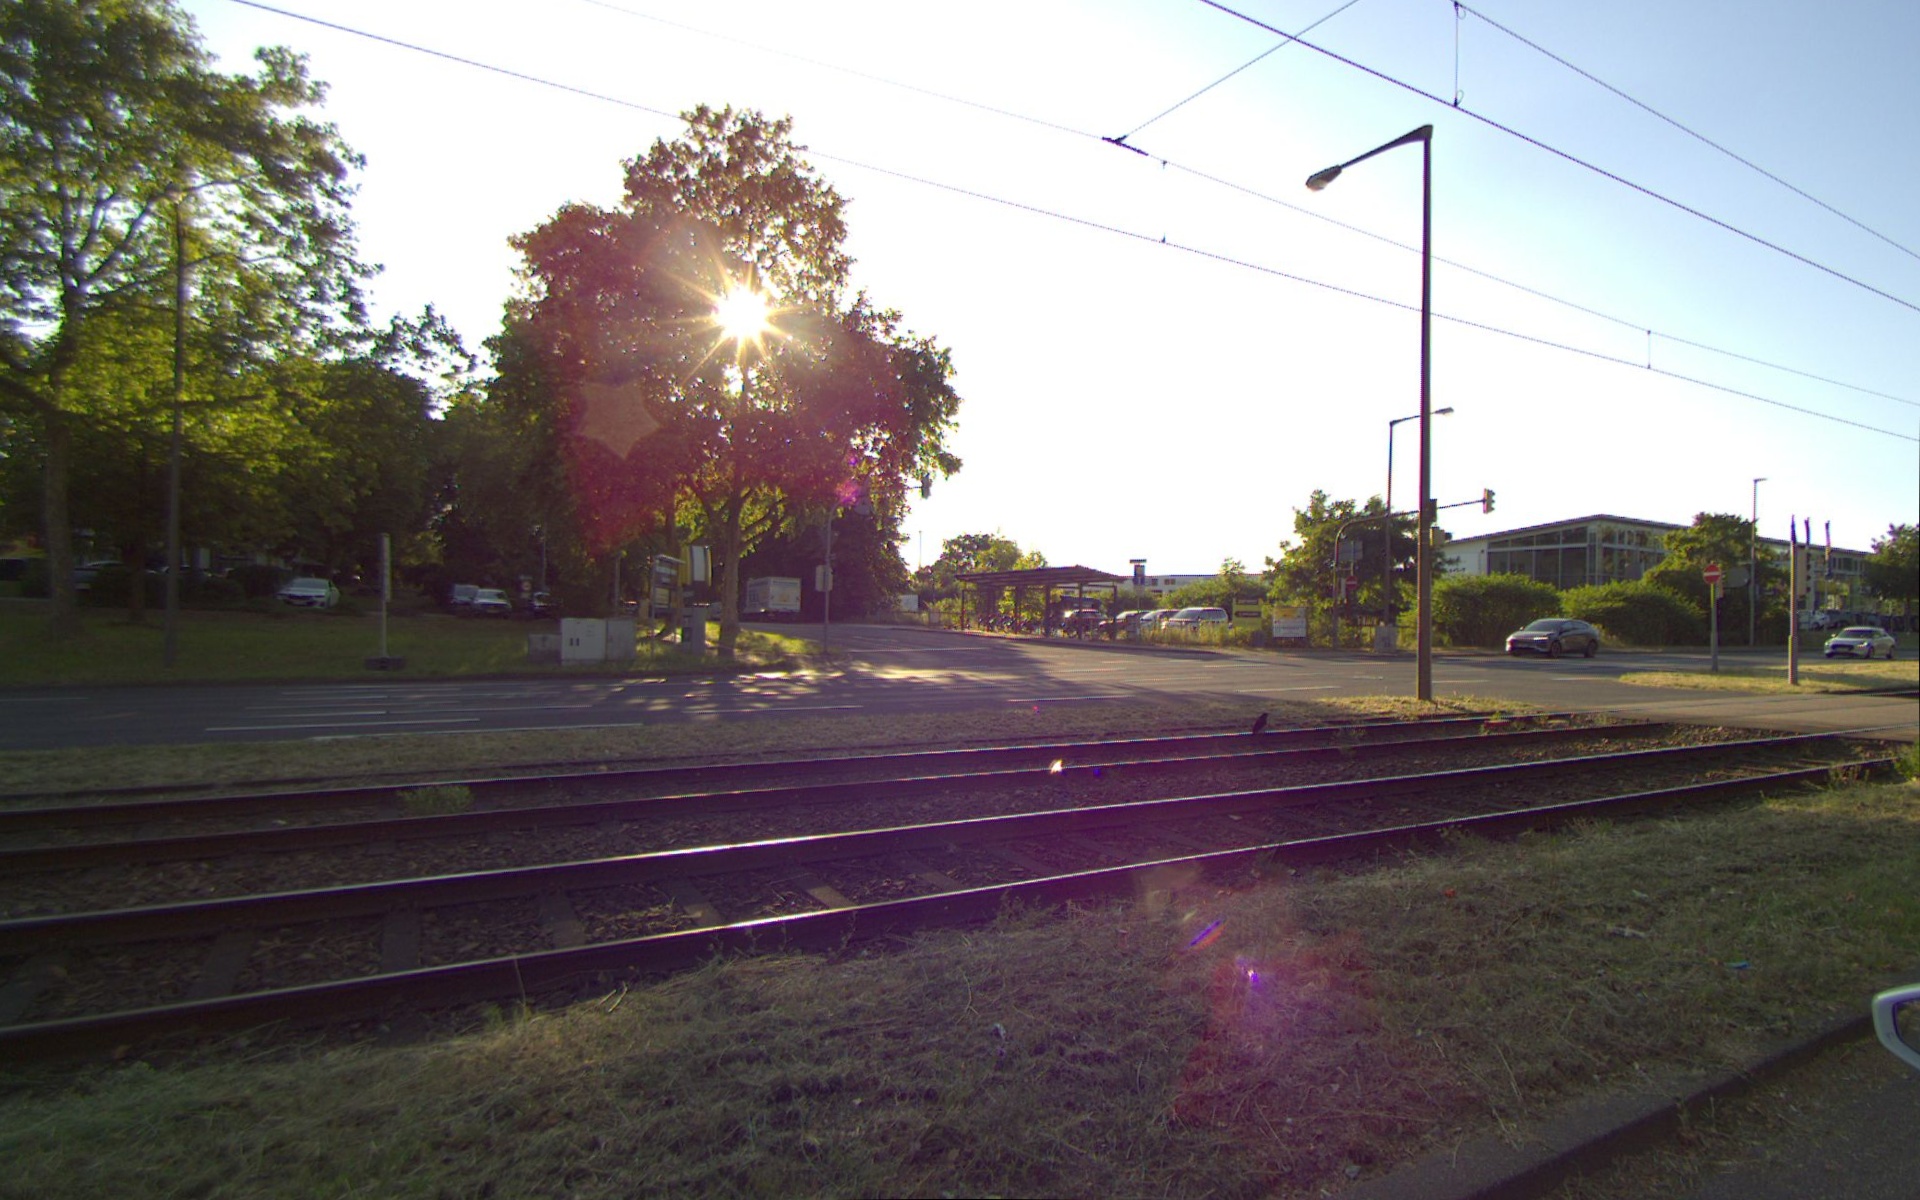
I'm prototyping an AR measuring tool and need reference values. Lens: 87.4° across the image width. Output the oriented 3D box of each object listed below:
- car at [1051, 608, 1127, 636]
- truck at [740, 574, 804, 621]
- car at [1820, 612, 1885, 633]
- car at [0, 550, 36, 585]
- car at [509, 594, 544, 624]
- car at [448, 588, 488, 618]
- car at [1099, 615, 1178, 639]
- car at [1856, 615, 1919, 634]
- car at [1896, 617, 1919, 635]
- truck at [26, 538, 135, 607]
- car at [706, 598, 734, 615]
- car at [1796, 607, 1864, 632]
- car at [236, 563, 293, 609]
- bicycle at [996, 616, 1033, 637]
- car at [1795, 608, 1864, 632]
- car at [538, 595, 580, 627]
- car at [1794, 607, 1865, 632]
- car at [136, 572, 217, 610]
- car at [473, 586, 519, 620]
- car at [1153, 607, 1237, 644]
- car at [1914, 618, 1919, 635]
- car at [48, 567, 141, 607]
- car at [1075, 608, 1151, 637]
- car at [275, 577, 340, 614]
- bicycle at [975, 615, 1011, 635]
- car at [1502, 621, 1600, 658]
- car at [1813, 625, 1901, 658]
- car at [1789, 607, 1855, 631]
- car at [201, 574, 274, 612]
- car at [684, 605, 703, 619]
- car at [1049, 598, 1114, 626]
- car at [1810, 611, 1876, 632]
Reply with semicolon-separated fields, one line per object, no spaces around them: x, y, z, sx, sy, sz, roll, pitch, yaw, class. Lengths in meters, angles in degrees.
7.711;1.300;59.990;4.123;1.604;1.968;1;0;-30;car
-15.055;-0.191;79.784;2.782;3.520;8.291;1;0;-27;truck
74.201;1.846;83.613;3.940;1.577;1.735;1;0;40;car
-53.865;-1.859;56.373;2.274;1.875;5.220;2;0;-36;car
-26.225;0.522;60.741;1.836;1.637;4.036;2;0;-23;car
-28.578;0.145;58.487;1.836;1.637;4.036;2;0;-23;car
9.934;1.495;55.864;4.123;1.284;1.853;1;0;-30;car
81.759;2.156;88.513;1.728;1.576;3.957;1;0;-37;car
88.374;2.388;91.745;1.725;1.642;3.962;1;0;-34;car
-44.518;-1.321;51.056;2.468;3.209;6.187;2;0;-26;truck
-22.744;0.601;94.999;1.711;1.603;4.028;1;0;-27;car
68.356;1.494;78.984;3.940;1.840;1.735;1;0;40;car
-37.302;-0.731;54.000;2.138;2.334;4.369;2;0;-31;car
3.064;1.485;56.408;2.004;1.119;0.777;2;0;-30;bicycle
66.719;1.496;77.172;3.940;1.727;1.735;1;0;40;car
-20.445;0.538;51.131;1.604;1.477;3.878;2;0;-27;car
65.173;1.446;75.372;3.940;1.727;1.735;1;0;40;car
-33.960;-0.376;43.676;1.916;1.530;4.071;2;0;-26;car
-22.940;0.126;49.582;1.916;1.530;4.071;2;0;-26;car
12.357;1.334;52.732;4.123;1.846;1.853;1;0;-30;car
91.290;2.504;93.025;1.725;1.642;3.962;1;0;-34;car
-36.092;-0.538;42.013;1.916;1.530;4.071;2;0;-26;car
8.815;1.293;57.795;4.123;1.604;1.853;1;0;-30;car
-29.437;-0.203;45.431;1.916;1.530;4.071;2;0;-26;car
1.922;1.462;59.044;2.004;1.119;0.777;2;0;-30;bicycle
25.709;1.683;43.691;4.120;1.501;1.854;1;0;-29;car
44.302;2.032;49.604;4.037;1.501;1.856;1;0;-26;car
69.318;1.512;80.829;3.940;1.840;1.735;1;0;40;car
-32.118;-0.303;44.749;1.916;1.530;4.071;2;0;-26;car
-33.284;1.485;125.448;1.887;1.602;4.036;2;0;-21;car
9.281;0.947;76.661;4.715;2.041;1.853;1;0;-30;car
71.982;1.751;81.945;3.940;1.577;1.735;1;0;40;car
